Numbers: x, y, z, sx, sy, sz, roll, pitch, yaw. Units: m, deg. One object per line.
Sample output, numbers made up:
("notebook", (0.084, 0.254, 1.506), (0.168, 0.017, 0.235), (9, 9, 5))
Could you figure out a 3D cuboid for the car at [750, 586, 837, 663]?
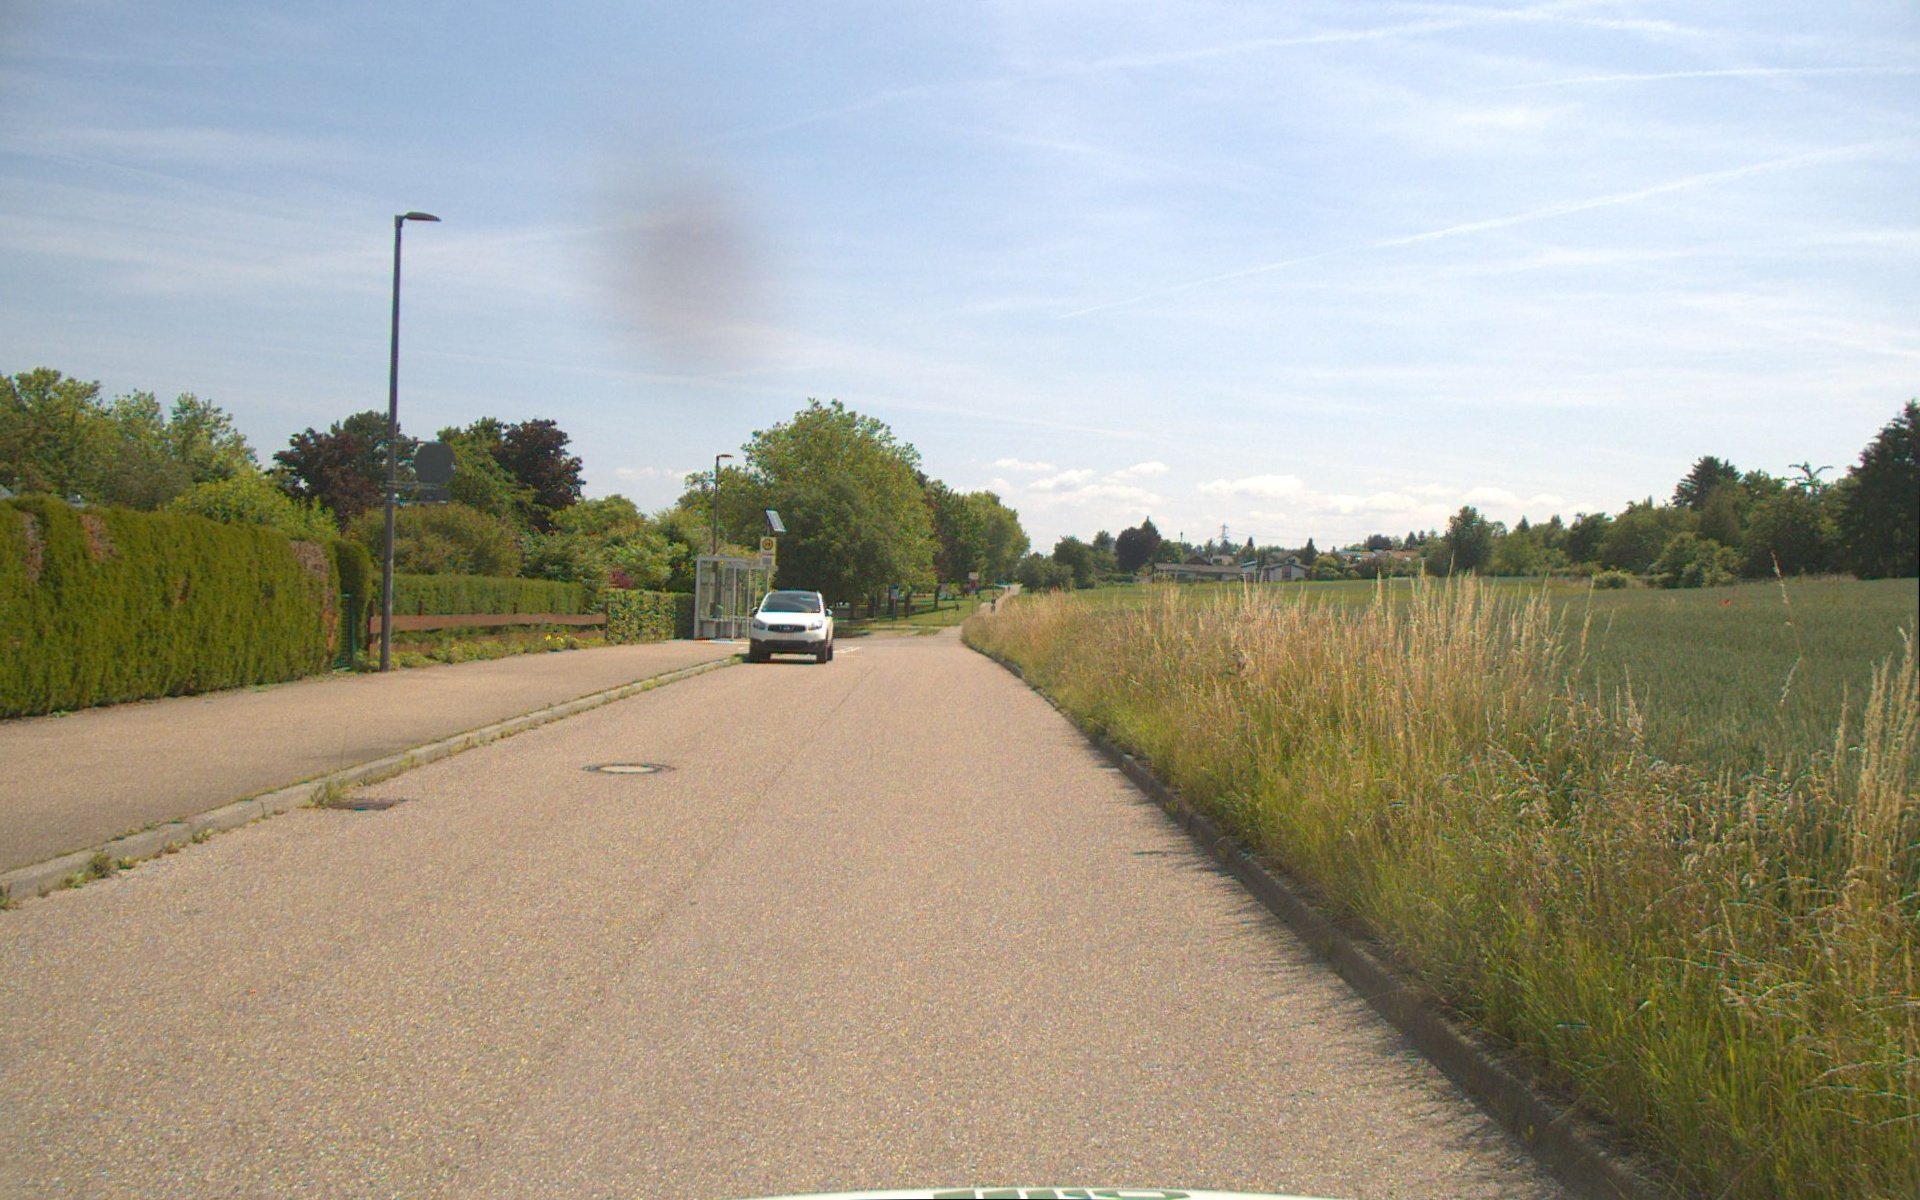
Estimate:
("car", (-3.842, 0.563, 38.812), (1.699, 1.662, 4.350), (1, -1, -2))
